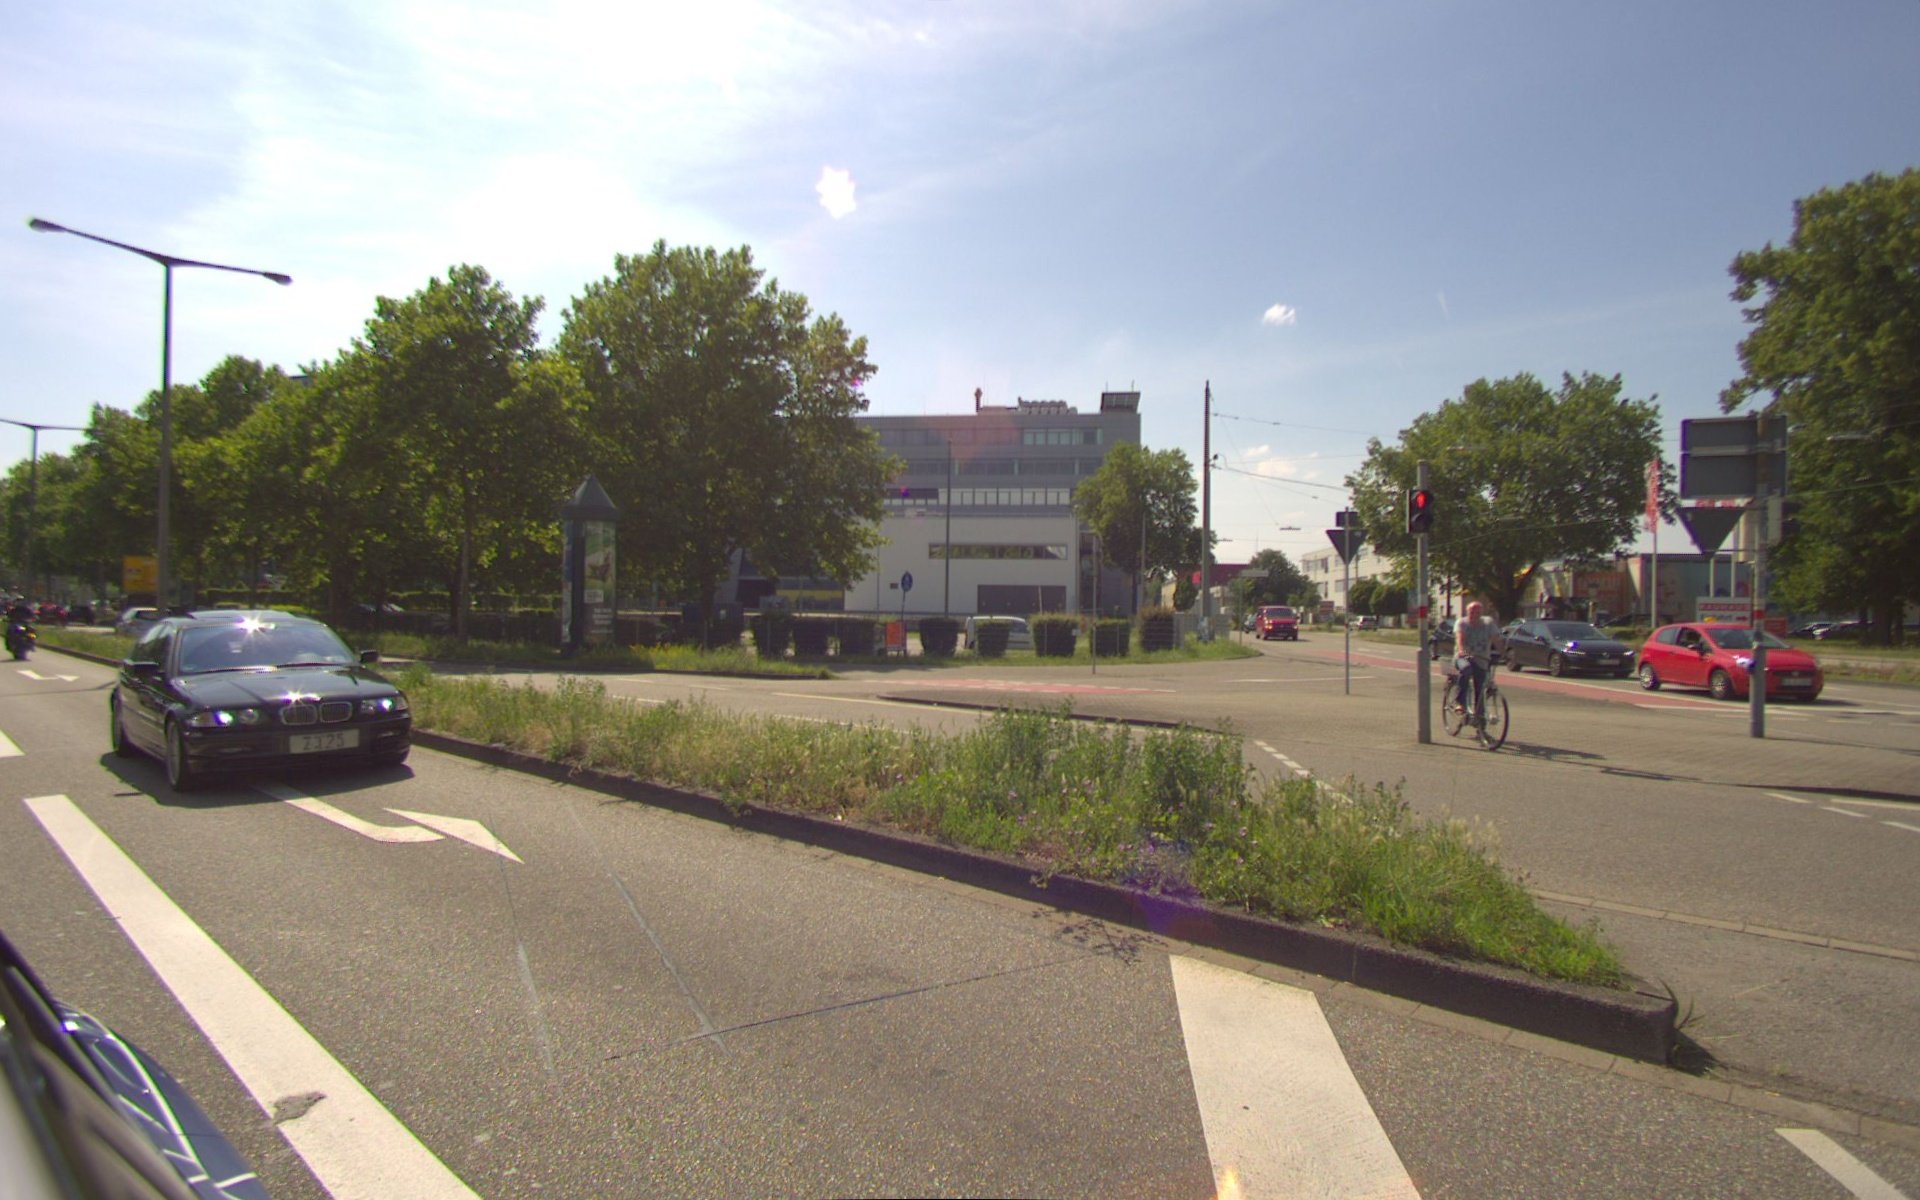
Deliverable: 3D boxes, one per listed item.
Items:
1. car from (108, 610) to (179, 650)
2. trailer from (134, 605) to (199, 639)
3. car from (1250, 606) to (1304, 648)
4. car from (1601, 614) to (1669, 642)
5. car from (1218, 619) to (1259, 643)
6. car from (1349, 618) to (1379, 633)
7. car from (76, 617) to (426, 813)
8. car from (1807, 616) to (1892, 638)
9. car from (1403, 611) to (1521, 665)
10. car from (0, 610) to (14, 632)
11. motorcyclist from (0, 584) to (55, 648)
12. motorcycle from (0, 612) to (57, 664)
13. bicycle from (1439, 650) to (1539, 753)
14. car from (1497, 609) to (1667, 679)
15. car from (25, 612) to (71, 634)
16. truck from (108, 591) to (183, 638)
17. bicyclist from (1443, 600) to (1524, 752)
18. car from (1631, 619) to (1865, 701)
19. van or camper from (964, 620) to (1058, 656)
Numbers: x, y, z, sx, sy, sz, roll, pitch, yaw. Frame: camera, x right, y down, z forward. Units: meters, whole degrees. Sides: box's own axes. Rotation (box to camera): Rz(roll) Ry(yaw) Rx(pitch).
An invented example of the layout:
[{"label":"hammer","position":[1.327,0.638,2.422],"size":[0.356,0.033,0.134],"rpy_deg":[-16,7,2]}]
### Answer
[{"label":"car","position":[-32.454,1.166,40.199],"size":[3.735,1.525,1.631],"rpy_deg":[-1,-1,42]},{"label":"trailer","position":[-41.781,1.147,53.264],"size":[3.990,1.729,2.040],"rpy_deg":[-1,-1,42]},{"label":"car","position":[18.095,1.547,57.965],"size":[2.127,2.295,5.028],"rpy_deg":[0,-1,8]},{"label":"car","position":[51.107,2.097,76.725],"size":[3.975,2.029,1.984],"rpy_deg":[0,-1,24]},{"label":"car","position":[20.667,2.275,75.229],"size":[1.972,1.712,3.999],"rpy_deg":[0,-1,0]},{"label":"car","position":[38.166,2.401,95.768],"size":[1.680,1.438,3.852],"rpy_deg":[0,-1,7]},{"label":"car","position":[-6.642,0.862,9.308],"size":[4.065,1.372,1.708],"rpy_deg":[-1,0,41]},{"label":"car","position":[65.348,1.983,74.406],"size":[4.334,1.576,1.869],"rpy_deg":[0,-1,10]},{"label":"car","position":[16.700,1.231,33.900],"size":[1.972,1.712,3.999],"rpy_deg":[0,-1,0]},{"label":"car","position":[-89.681,1.929,94.243],"size":[3.999,2.029,1.972],"rpy_deg":[-1,-1,42]},{"label":"motorcyclist","position":[-25.483,0.435,27.611],"size":[1.041,1.712,1.052],"rpy_deg":[-1,-1,41]},{"label":"motorcycle","position":[-25.524,1.008,27.615],"size":[2.331,1.361,1.038],"rpy_deg":[-1,-1,42]},{"label":"bicycle","position":[6.447,1.191,12.436],"size":[0.520,1.072,2.157],"rpy_deg":[0,-1,12]},{"label":"car","position":[16.415,1.130,26.984],"size":[1.971,1.712,4.000],"rpy_deg":[0,-1,-1]},{"label":"car","position":[-60.225,1.494,66.804],"size":[3.765,1.445,1.828],"rpy_deg":[-1,-1,41]},{"label":"truck","position":[-45.966,0.800,57.029],"size":[7.126,2.494,2.117],"rpy_deg":[-1,-1,42]},{"label":"bicyclist","position":[6.425,0.911,12.455],"size":[0.698,1.802,0.765],"rpy_deg":[0,-1,13]},{"label":"car","position":[15.557,1.127,20.290],"size":[1.824,1.460,3.993],"rpy_deg":[0,-1,6]},{"label":"van or camper","position":[2.485,1.819,49.126],"size":[4.455,1.704,1.997],"rpy_deg":[0,-1,5]}]
